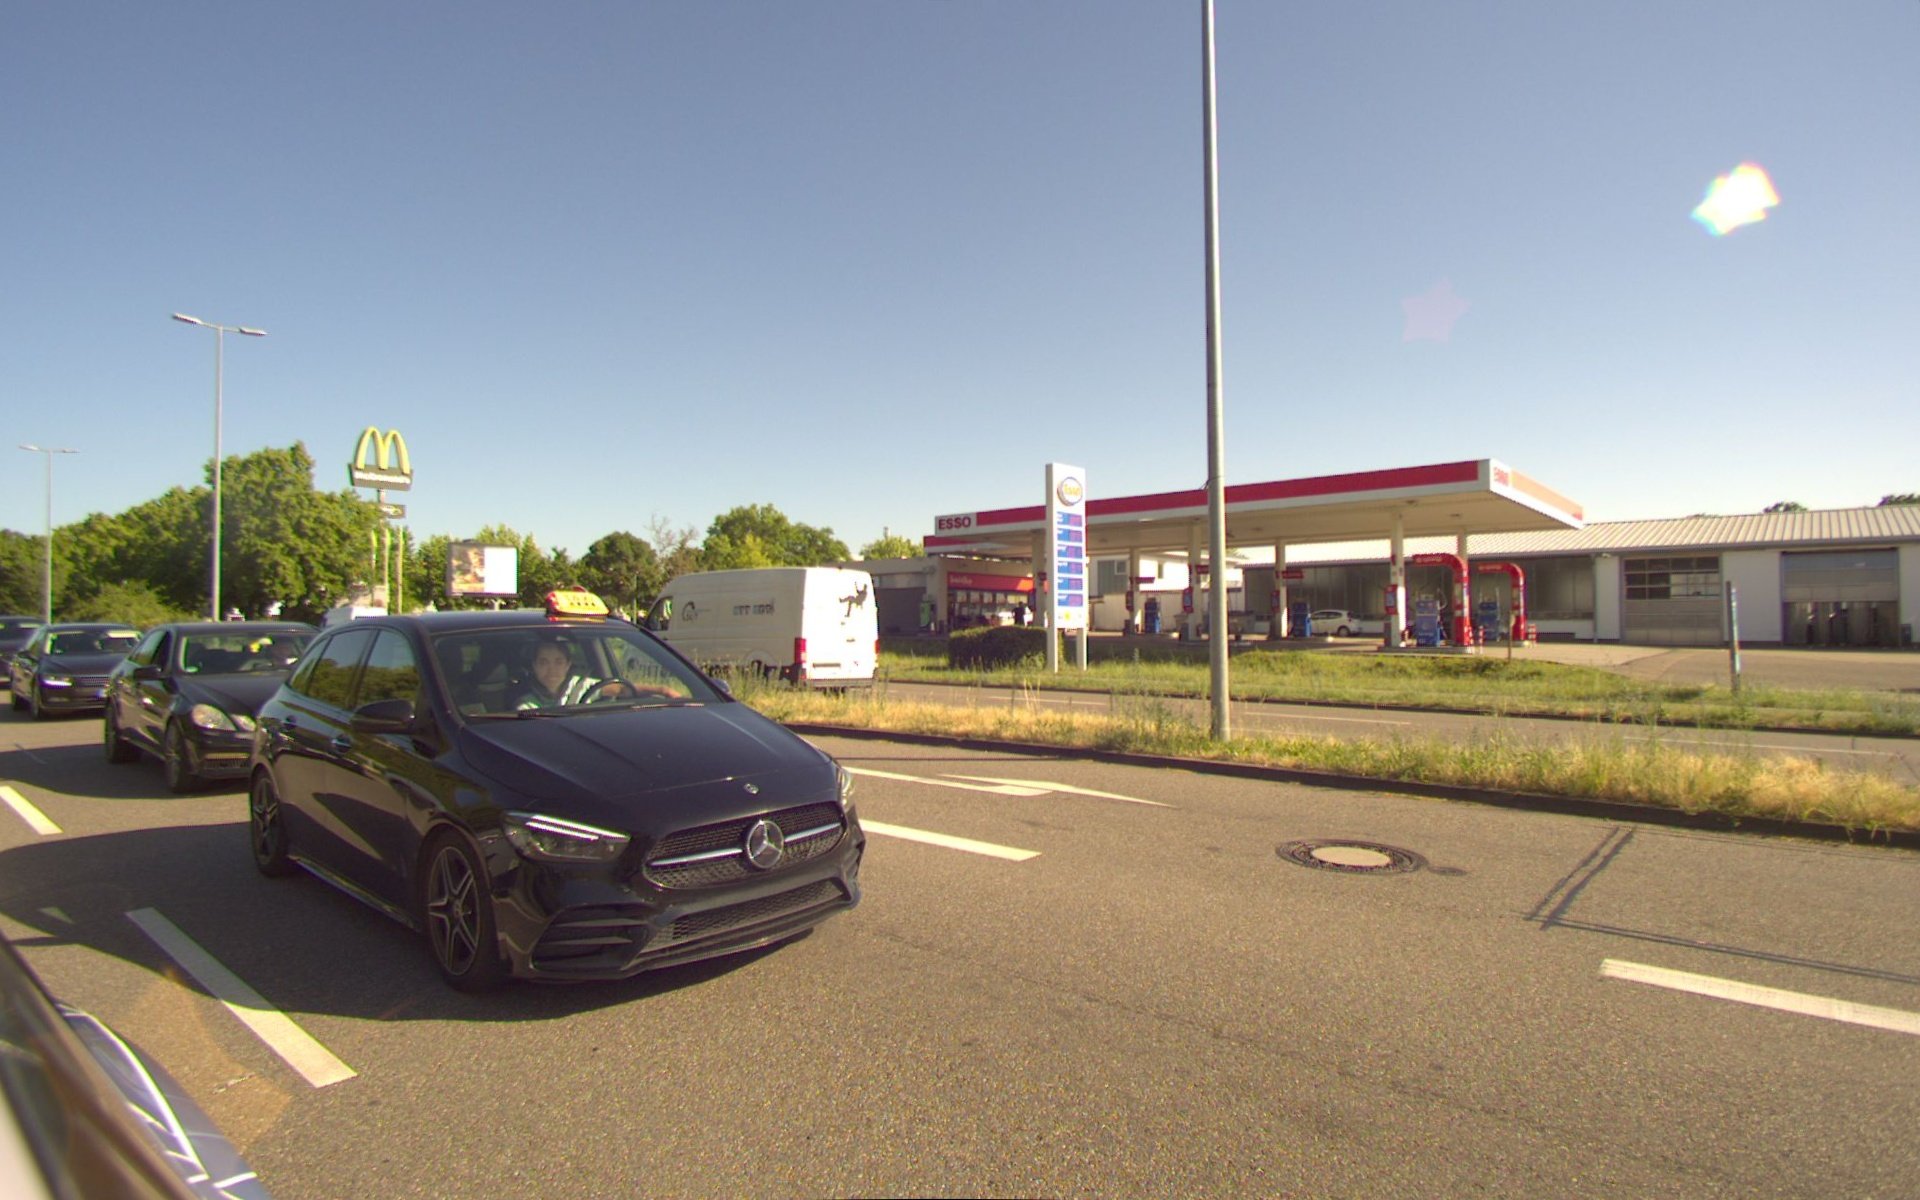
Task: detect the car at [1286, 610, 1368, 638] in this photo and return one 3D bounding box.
[{"bbox_3d":[19.858,1.322,54.860,3.844,1.450,1.730,-2,-2,39],"label":"car"}]

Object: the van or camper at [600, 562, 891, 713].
[{"bbox_3d":[-4.537,0.727,20.454,6.750,2.592,2.155,-2,-2,41],"label":"van or camper"}]

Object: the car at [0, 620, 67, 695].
[{"bbox_3d":[-22.118,1.284,23.274,4.401,1.600,1.838,-2,-2,41],"label":"car"}]

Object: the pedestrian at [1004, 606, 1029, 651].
[{"bbox_3d":[2.553,1.275,45.527,0.840,2.029,0.694,-2,-2,41],"label":"pedestrian"}]

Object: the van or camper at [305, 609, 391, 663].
[{"bbox_3d":[-32.040,1.872,52.868,5.952,2.671,1.973,-1,-4,40],"label":"van or camper"}]

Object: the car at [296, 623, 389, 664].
[{"bbox_3d":[-26.814,1.880,43.896,4.609,1.666,1.973,-2,-4,40],"label":"car"}]

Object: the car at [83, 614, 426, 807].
[{"bbox_3d":[-7.239,0.931,10.206,4.401,1.535,1.838,-2,-2,41],"label":"car"}]

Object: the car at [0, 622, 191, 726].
[{"bbox_3d":[-14.418,1.124,16.766,4.401,1.492,1.838,-2,-2,41],"label":"car"}]

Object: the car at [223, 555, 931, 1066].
[{"bbox_3d":[-2.278,0.728,5.330,4.187,1.638,1.780,-2,-2,42],"label":"car"}]
